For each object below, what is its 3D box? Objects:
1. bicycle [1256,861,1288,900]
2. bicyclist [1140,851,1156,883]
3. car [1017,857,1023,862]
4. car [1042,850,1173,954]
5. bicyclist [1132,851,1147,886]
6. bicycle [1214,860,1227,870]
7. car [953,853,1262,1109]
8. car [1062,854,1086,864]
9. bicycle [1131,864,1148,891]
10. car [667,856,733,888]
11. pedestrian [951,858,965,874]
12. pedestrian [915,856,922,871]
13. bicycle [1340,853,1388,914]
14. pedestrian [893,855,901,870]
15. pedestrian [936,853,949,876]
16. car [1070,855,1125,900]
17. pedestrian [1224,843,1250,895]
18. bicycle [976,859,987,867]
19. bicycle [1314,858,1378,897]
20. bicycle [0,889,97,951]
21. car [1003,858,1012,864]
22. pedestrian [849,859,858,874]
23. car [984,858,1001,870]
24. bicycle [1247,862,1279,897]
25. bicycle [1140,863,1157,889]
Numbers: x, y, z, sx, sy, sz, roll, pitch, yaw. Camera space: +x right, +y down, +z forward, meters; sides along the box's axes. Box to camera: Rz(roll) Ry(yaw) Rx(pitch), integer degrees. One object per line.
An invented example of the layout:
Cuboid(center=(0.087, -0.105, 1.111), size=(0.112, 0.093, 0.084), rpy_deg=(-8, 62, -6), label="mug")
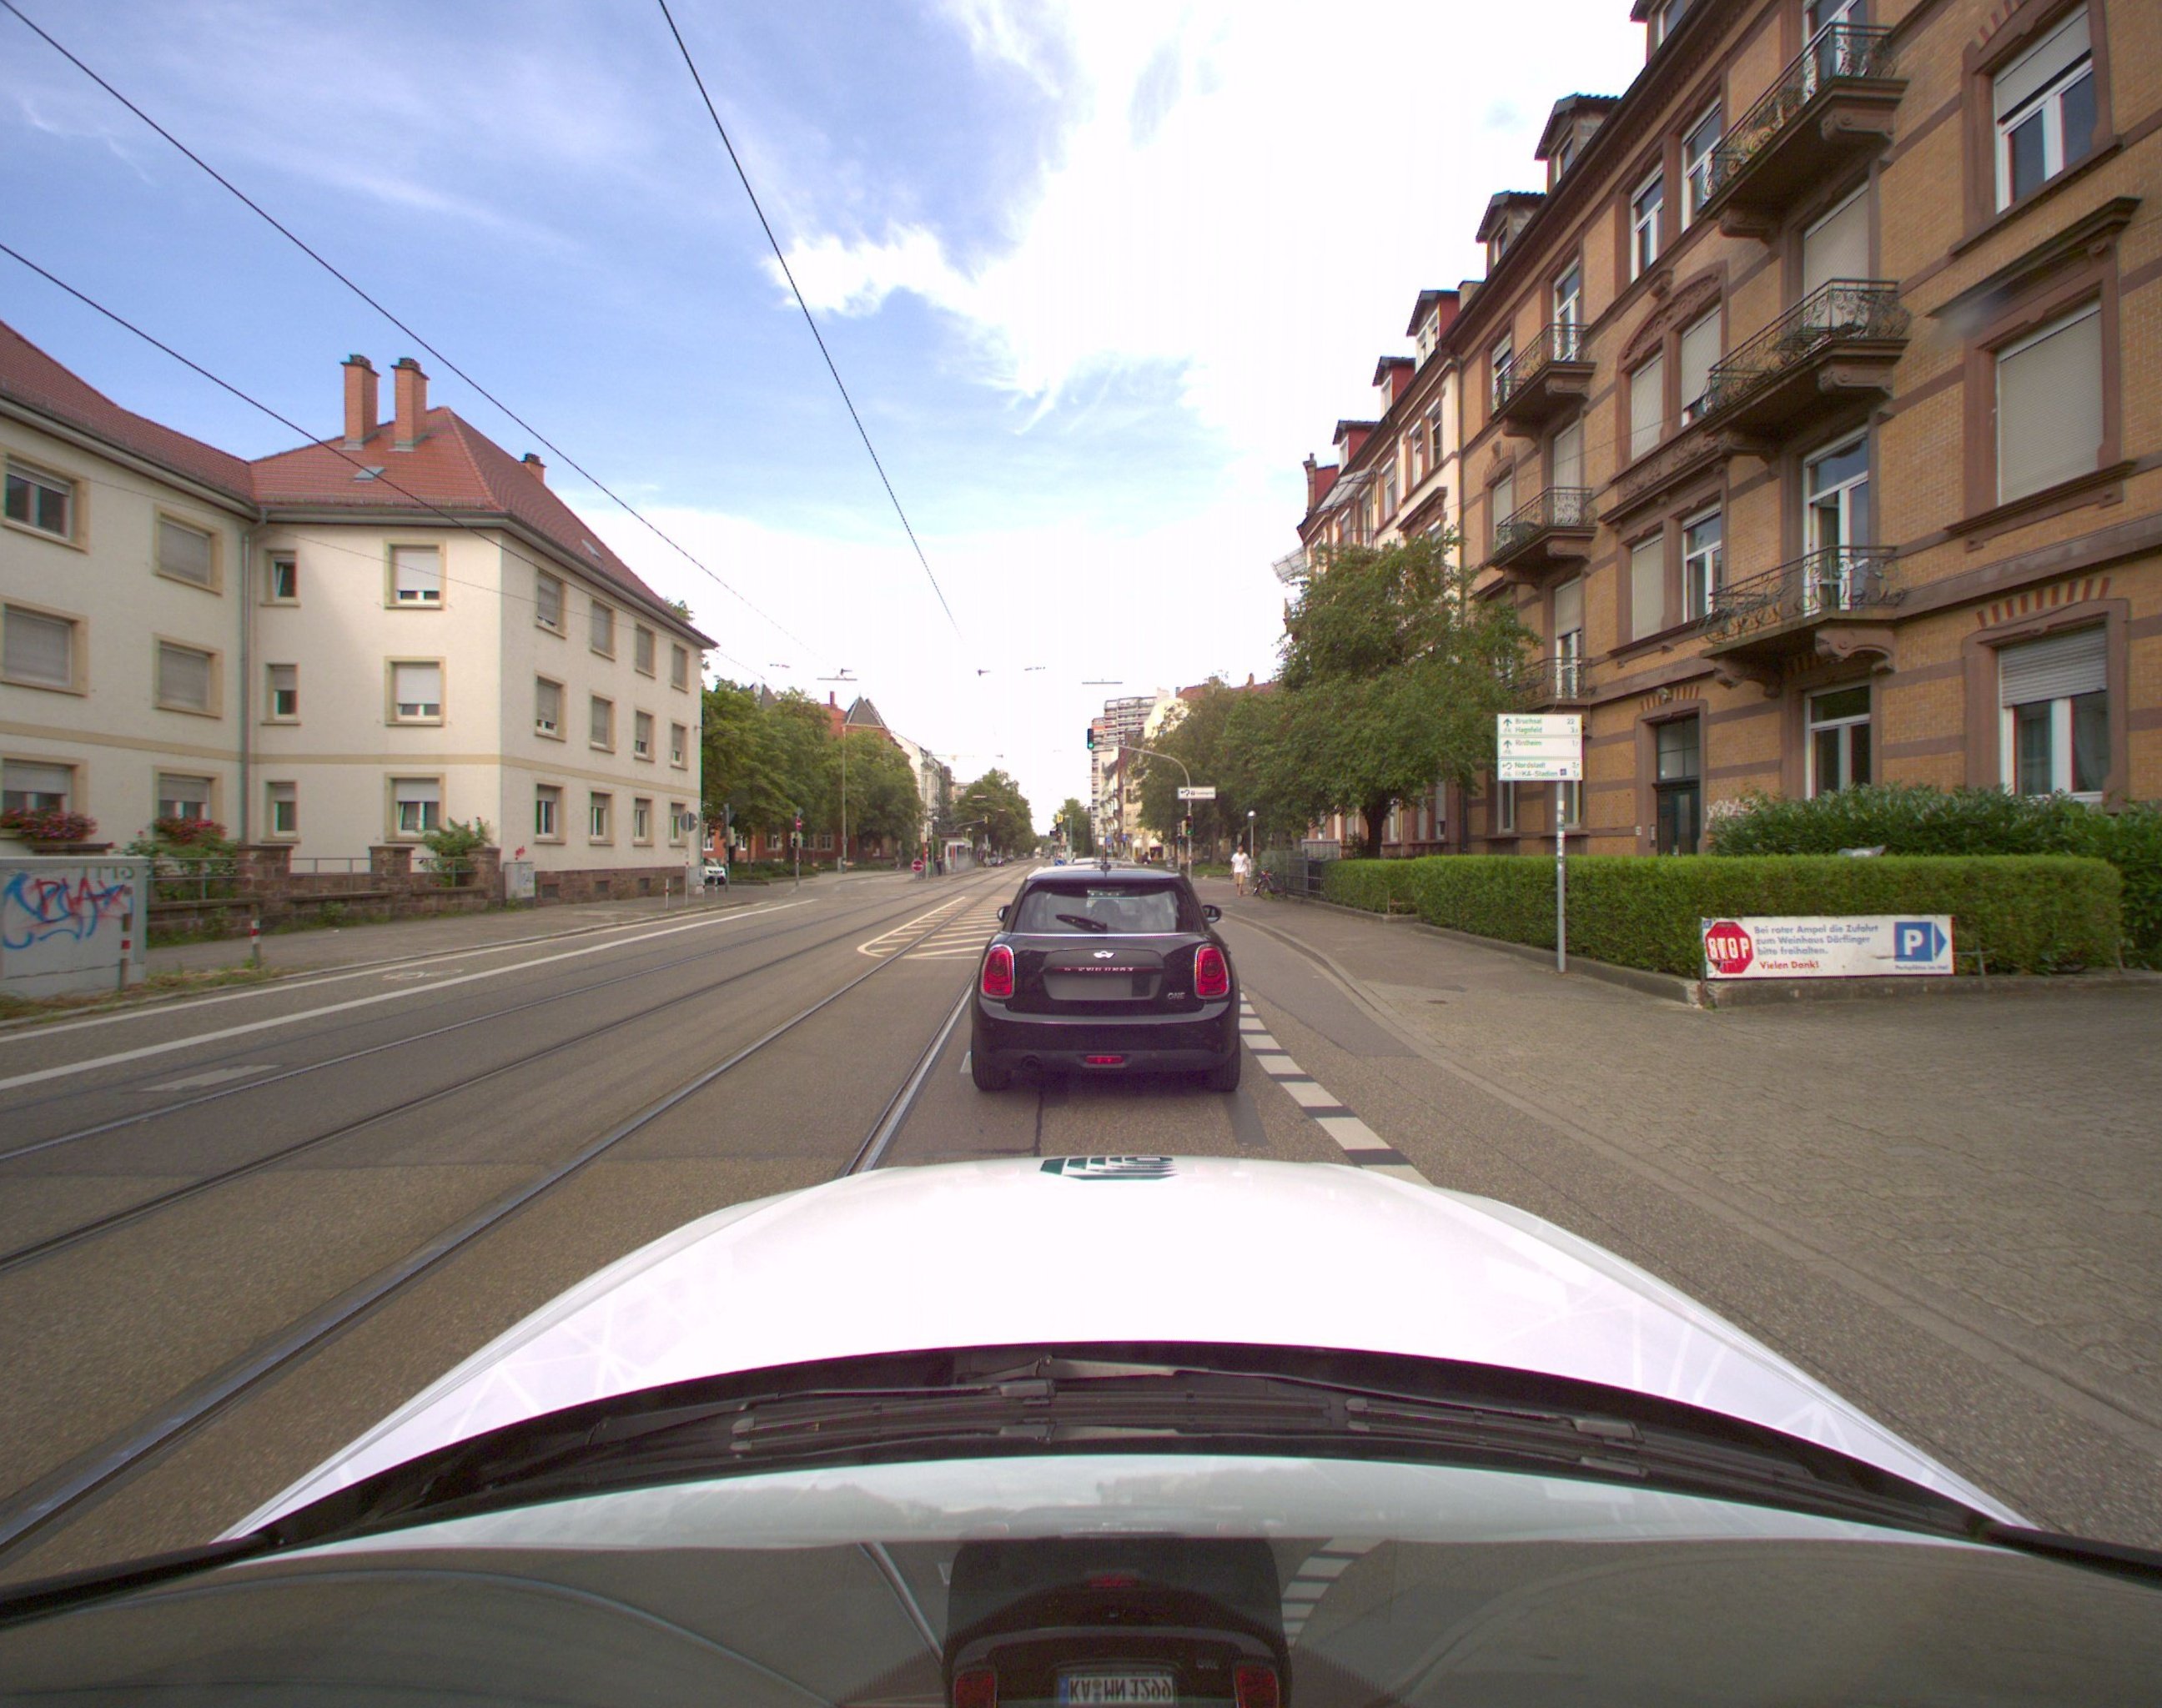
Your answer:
Cuboid(center=(5.717, 0.784, 24.460), size=(0.507, 1.088, 1.549), rpy_deg=(-4, 0, -2), label="bicycle")
Cuboid(center=(3.291, 0.624, 39.790), size=(0.682, 1.564, 0.998), rpy_deg=(-1, 0, 0), label="bicyclist")
Cuboid(center=(-19.562, 1.670, 261.082), size=(1.988, 1.552, 3.997), rpy_deg=(0, 0, -2), label="car")
Cuboid(center=(0.472, 0.717, 14.009), size=(1.919, 1.510, 4.002), rpy_deg=(-1, 0, 2), label="car")
Cuboid(center=(2.682, 0.653, 37.413), size=(0.593, 1.550, 1.013), rpy_deg=(-1, 0, -2), label="bicyclist")
Cuboid(center=(15.155, 1.190, 88.412), size=(0.526, 1.128, 1.905), rpy_deg=(-1, -1, 40), label="bicycle")
Cuboid(center=(0.208, 0.730, 6.631), size=(1.745, 1.441, 4.001), rpy_deg=(-1, 0, 2), label="car")
Cuboid(center=(-1.651, 1.068, 181.510), size=(5.067, 2.272, 2.368), rpy_deg=(0, 0, -43), label="car")
Cuboid(center=(2.687, 1.069, 37.414), size=(0.597, 1.170, 1.695), rpy_deg=(-1, 0, -2), label="bicycle")
Cuboid(center=(-22.337, 1.052, 47.677), size=(4.105, 1.721, 1.852), rpy_deg=(-3, -3, 38), label="car")
Cuboid(center=(-10.033, 0.972, 66.391), size=(1.057, 1.294, 0.983), rpy_deg=(0, -1, -7), label="pedestrian")
Cuboid(center=(-18.390, 1.062, 92.147), size=(0.692, 1.719, 0.758), rpy_deg=(-1, 0, 0), label="pedestrian")
Cuboid(center=(6.285, 0.631, 18.158), size=(0.514, 1.282, 1.550), rpy_deg=(-1, 0, 0), label="bicycle")
Cuboid(center=(-21.295, 0.952, 94.040), size=(0.832, 1.703, 0.731), rpy_deg=(0, 0, -7), label="pedestrian")
Cuboid(center=(-9.955, 0.776, 58.420), size=(0.851, 1.621, 0.841), rpy_deg=(0, -1, -7), label="pedestrian")
Cuboid(center=(0.557, 0.759, 28.194), size=(1.746, 1.441, 4.479), rpy_deg=(0, 0, 0), label="car")
Cuboid(center=(5.357, 0.505, 27.952), size=(0.727, 1.754, 0.950), rpy_deg=(-1, 0, 2), label="pedestrian")
Cuboid(center=(-15.791, 1.419, 129.137), size=(1.681, 1.119, 0.566), rpy_deg=(-1, 0, -42), label="bicycle")
Cuboid(center=(7.108, 0.634, 21.840), size=(1.542, 1.009, 0.509), rpy_deg=(-1, 0, -4), label="bicycle")
Cuboid(center=(-16.978, 1.052, 13.020), size=(0.476, 0.915, 1.671), rpy_deg=(-1, 0, -2), label="bicycle")
Cuboid(center=(-17.817, 1.659, 198.221), size=(1.988, 1.552, 3.997), rpy_deg=(0, 0, -2), label="car")
Cuboid(center=(-25.244, 1.401, 90.358), size=(0.832, 1.703, 0.731), rpy_deg=(0, 0, -7), label="pedestrian")
Cuboid(center=(-11.780, 1.321, 108.489), size=(1.746, 1.441, 3.999), rpy_deg=(1, 0, 0), label="car")
Cuboid(center=(6.060, 0.834, 27.197), size=(0.669, 1.106, 1.671), rpy_deg=(-1, 0, -2), label="bicycle")
Cuboid(center=(3.293, 1.062, 39.721), size=(0.682, 1.170, 1.696), rpy_deg=(-1, 0, 0), label="bicycle")
